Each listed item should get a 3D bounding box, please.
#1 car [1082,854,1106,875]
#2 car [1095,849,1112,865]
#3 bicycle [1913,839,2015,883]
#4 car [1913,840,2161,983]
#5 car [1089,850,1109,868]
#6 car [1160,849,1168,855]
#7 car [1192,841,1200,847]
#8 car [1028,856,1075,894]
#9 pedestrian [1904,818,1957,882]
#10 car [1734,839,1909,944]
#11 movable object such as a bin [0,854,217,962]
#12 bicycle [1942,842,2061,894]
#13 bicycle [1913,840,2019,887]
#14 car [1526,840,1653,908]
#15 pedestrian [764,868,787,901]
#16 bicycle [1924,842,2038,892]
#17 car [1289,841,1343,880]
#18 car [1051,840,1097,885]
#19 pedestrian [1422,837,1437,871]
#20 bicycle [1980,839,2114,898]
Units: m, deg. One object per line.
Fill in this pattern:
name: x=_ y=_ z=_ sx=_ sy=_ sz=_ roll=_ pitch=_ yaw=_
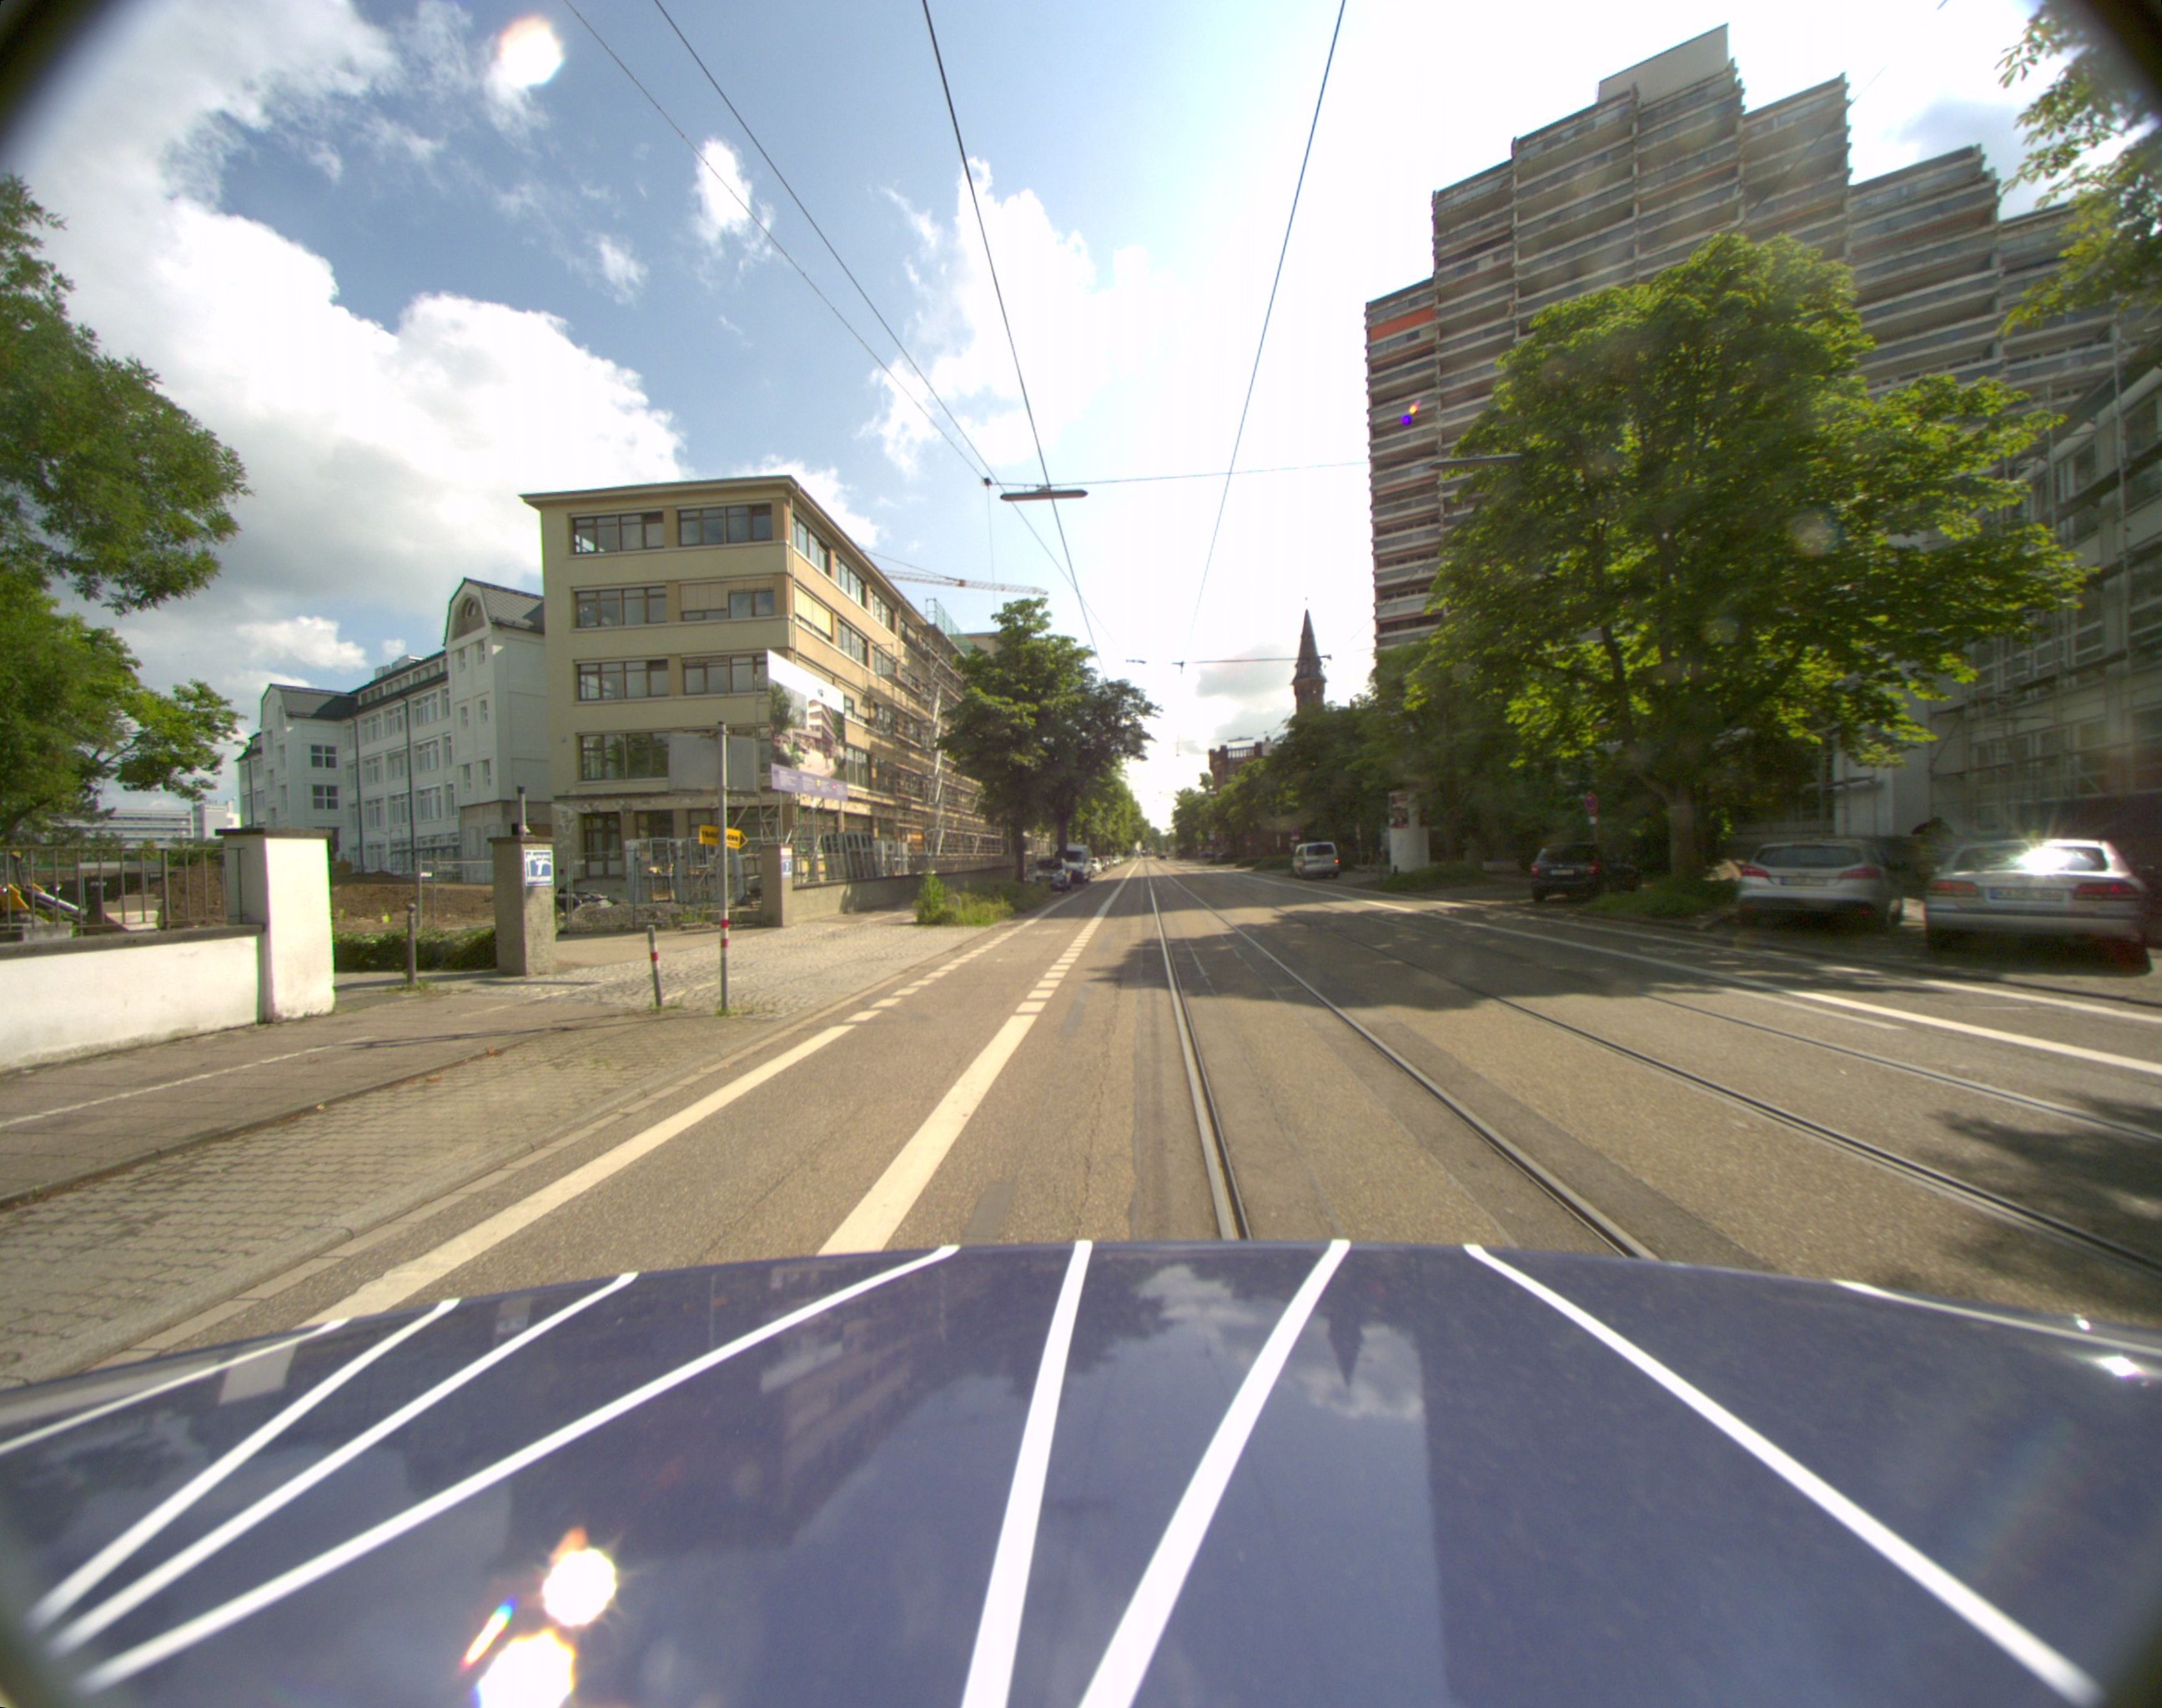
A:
car: x=1.204 y=0.893 z=67.610 sx=1.749 sy=1.597 sz=4.237 roll=-5 pitch=0 yaw=4
car: x=2.648 y=0.313 z=88.717 sx=1.749 sy=1.597 sz=4.237 roll=-5 pitch=0 yaw=4
bicycle: x=22.290 y=0.187 z=19.215 sx=1.576 sy=1.074 sz=0.543 roll=-2 pitch=-2 yaw=29
car: x=12.451 y=0.593 z=9.893 sx=4.178 sy=1.441 sz=1.817 roll=-2 pitch=0 yaw=-38
car: x=1.879 y=0.470 z=78.096 sx=1.749 sy=1.597 sz=4.237 roll=-5 pitch=0 yaw=4
car: x=21.937 y=-0.497 z=200.269 sx=1.891 sy=1.634 sz=4.237 roll=-2 pitch=0 yaw=3
car: x=27.533 y=-2.362 z=181.242 sx=1.628 sy=1.565 sz=3.953 roll=1 pitch=1 yaw=5
car: x=-1.409 y=0.986 z=37.594 sx=1.749 sy=1.597 sz=4.237 roll=-5 pitch=0 yaw=4
pedestrian: x=22.385 y=-0.106 z=20.030 sx=0.642 sy=1.615 sz=0.661 roll=-3 pitch=2 yaw=-3
car: x=12.833 y=0.533 z=13.085 sx=4.201 sy=1.492 sz=1.817 roll=-2 pitch=0 yaw=-41
movable object such as a bin: x=-24.846 y=1.250 z=18.102 sx=5.436 sy=2.429 sz=1.998 roll=0 pitch=-1 yaw=-14
bicycle: x=20.413 y=0.328 z=16.889 sx=1.576 sy=1.114 sz=0.543 roll=-2 pitch=-2 yaw=28
bicycle: x=21.614 y=0.251 z=18.595 sx=1.576 sy=1.086 sz=0.543 roll=-2 pitch=-2 yaw=29
car: x=13.101 y=0.459 z=19.494 sx=3.893 sy=1.514 sz=1.738 roll=-2 pitch=0 yaw=-41
pedestrian: x=-12.497 y=1.242 z=31.111 sx=0.634 sy=1.306 sz=0.463 roll=-3 pitch=3 yaw=22
bicycle: x=20.781 y=0.306 z=17.585 sx=1.576 sy=1.107 sz=0.543 roll=-2 pitch=-2 yaw=28
car: x=12.721 y=0.310 z=41.338 sx=1.891 sy=1.840 sz=4.238 roll=-5 pitch=0 yaw=6
car: x=-0.358 y=0.478 z=47.929 sx=2.336 sy=2.545 sz=5.391 roll=-5 pitch=0 yaw=4
pedestrian: x=18.768 y=-0.015 z=40.926 sx=0.524 sy=1.745 sz=0.635 roll=-4 pitch=3 yaw=9
bicycle: x=19.723 y=0.315 z=15.550 sx=1.576 sy=1.155 sz=0.543 roll=-2 pitch=-2 yaw=28
